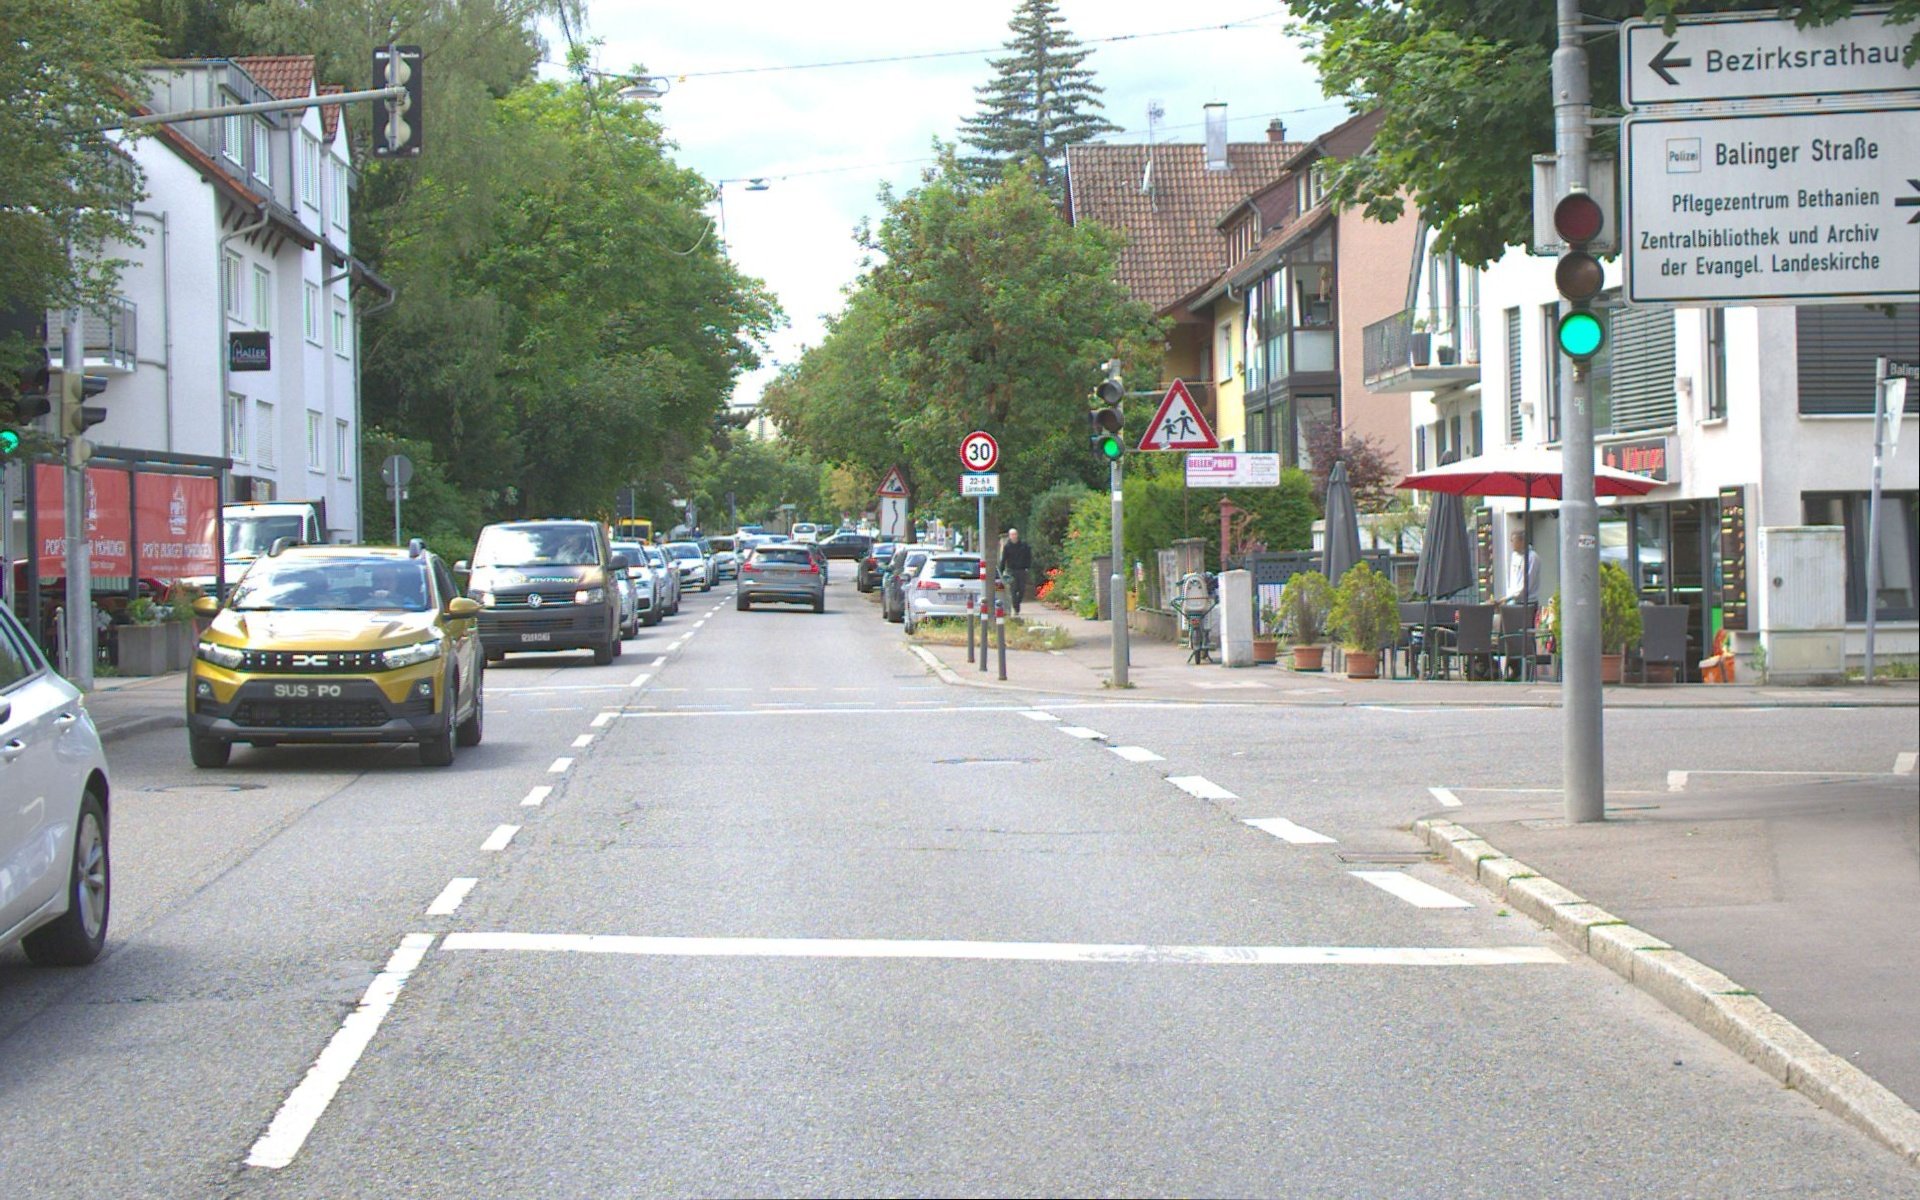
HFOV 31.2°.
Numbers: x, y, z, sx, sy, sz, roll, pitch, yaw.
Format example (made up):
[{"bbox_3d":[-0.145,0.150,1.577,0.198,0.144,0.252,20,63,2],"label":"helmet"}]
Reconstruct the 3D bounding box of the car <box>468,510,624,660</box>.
[{"bbox_3d":[-5.491,-0.243,46.063,1.876,1.906,4.752,0,1,-5],"label":"car"}]

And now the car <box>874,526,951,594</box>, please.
[{"bbox_3d":[-1.108,-0.944,79.242,1.621,1.502,3.780,-1,2,-3],"label":"car"}]

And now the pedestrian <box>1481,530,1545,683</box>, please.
[{"bbox_3d":[6.413,0.072,39.845,0.427,1.756,0.676,-1,1,-23],"label":"pedestrian"}]

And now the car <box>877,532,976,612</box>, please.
[{"bbox_3d":[-0.695,-0.579,67.828,1.734,1.424,4.883,2,1,-3],"label":"car"}]

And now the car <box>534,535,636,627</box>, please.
[{"bbox_3d":[-6.271,-0.348,57.783,1.617,1.481,3.814,-1,1,-5],"label":"car"}]

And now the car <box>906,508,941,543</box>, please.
[{"bbox_3d":[-2.117,-4.294,198.447,1.993,2.007,4.000,0,1,-1],"label":"car"}]

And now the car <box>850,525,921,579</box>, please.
[{"bbox_3d":[-2.149,-1.400,98.049,1.801,1.440,4.888,1,1,-4],"label":"car"}]

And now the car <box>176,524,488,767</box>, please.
[{"bbox_3d":[-4.355,0.249,24.354,1.728,1.532,4.001,0,2,-4],"label":"car"}]

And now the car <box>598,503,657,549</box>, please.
[{"bbox_3d":[-14.716,-3.284,152.361,2.146,1.974,4.931,0,1,0],"label":"car"}]

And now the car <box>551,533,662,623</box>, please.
[{"bbox_3d":[-6.645,-0.447,64.978,1.806,1.566,4.160,-3,1,-3],"label":"car"}]

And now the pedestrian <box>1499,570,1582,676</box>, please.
[{"bbox_3d":[5.995,0.230,35.505,0.566,1.085,0.634,-1,1,-28],"label":"pedestrian"}]

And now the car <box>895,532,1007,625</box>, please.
[{"bbox_3d":[-0.200,-0.405,59.360,1.700,1.475,4.873,1,1,-3],"label":"car"}]

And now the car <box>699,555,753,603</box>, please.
[{"bbox_3d":[-8.696,-0.798,128.001,1.786,1.642,4.491,-3,2,-2],"label":"car"}]

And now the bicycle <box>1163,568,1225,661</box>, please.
[{"bbox_3d":[2.988,0.171,44.019,0.720,1.146,2.213,-1,1,3],"label":"bicycle"}]

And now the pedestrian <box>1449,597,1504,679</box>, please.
[{"bbox_3d":[5.958,0.437,39.653,0.418,0.935,0.498,-1,1,-24],"label":"pedestrian"}]

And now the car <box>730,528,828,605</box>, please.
[{"bbox_3d":[-3.886,-0.756,74.283,1.976,1.508,4.267,3,1,-2],"label":"car"}]

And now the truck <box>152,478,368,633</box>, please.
[{"bbox_3d":[-11.311,-0.720,56.013,2.224,2.371,6.326,0,1,0],"label":"truck"}]

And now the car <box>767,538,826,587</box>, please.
[{"bbox_3d":[-5.269,-1.239,111.343,1.816,1.495,4.267,1,1,-2],"label":"car"}]

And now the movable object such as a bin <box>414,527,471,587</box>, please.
[{"bbox_3d":[-12.405,-1.036,82.361,1.329,1.422,1.214,0,1,-9],"label":"movable object such as a bin"}]

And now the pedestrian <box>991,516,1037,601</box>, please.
[{"bbox_3d":[1.090,-0.833,69.781,0.880,1.706,0.842,0,0,-1],"label":"pedestrian"}]

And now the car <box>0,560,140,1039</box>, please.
[{"bbox_3d":[-3.839,0.610,10.524,1.874,1.419,4.116,0,1,-3],"label":"car"}]

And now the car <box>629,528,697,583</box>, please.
[{"bbox_3d":[-8.610,-1.305,99.796,1.759,1.434,3.971,-3,2,-3],"label":"car"}]
